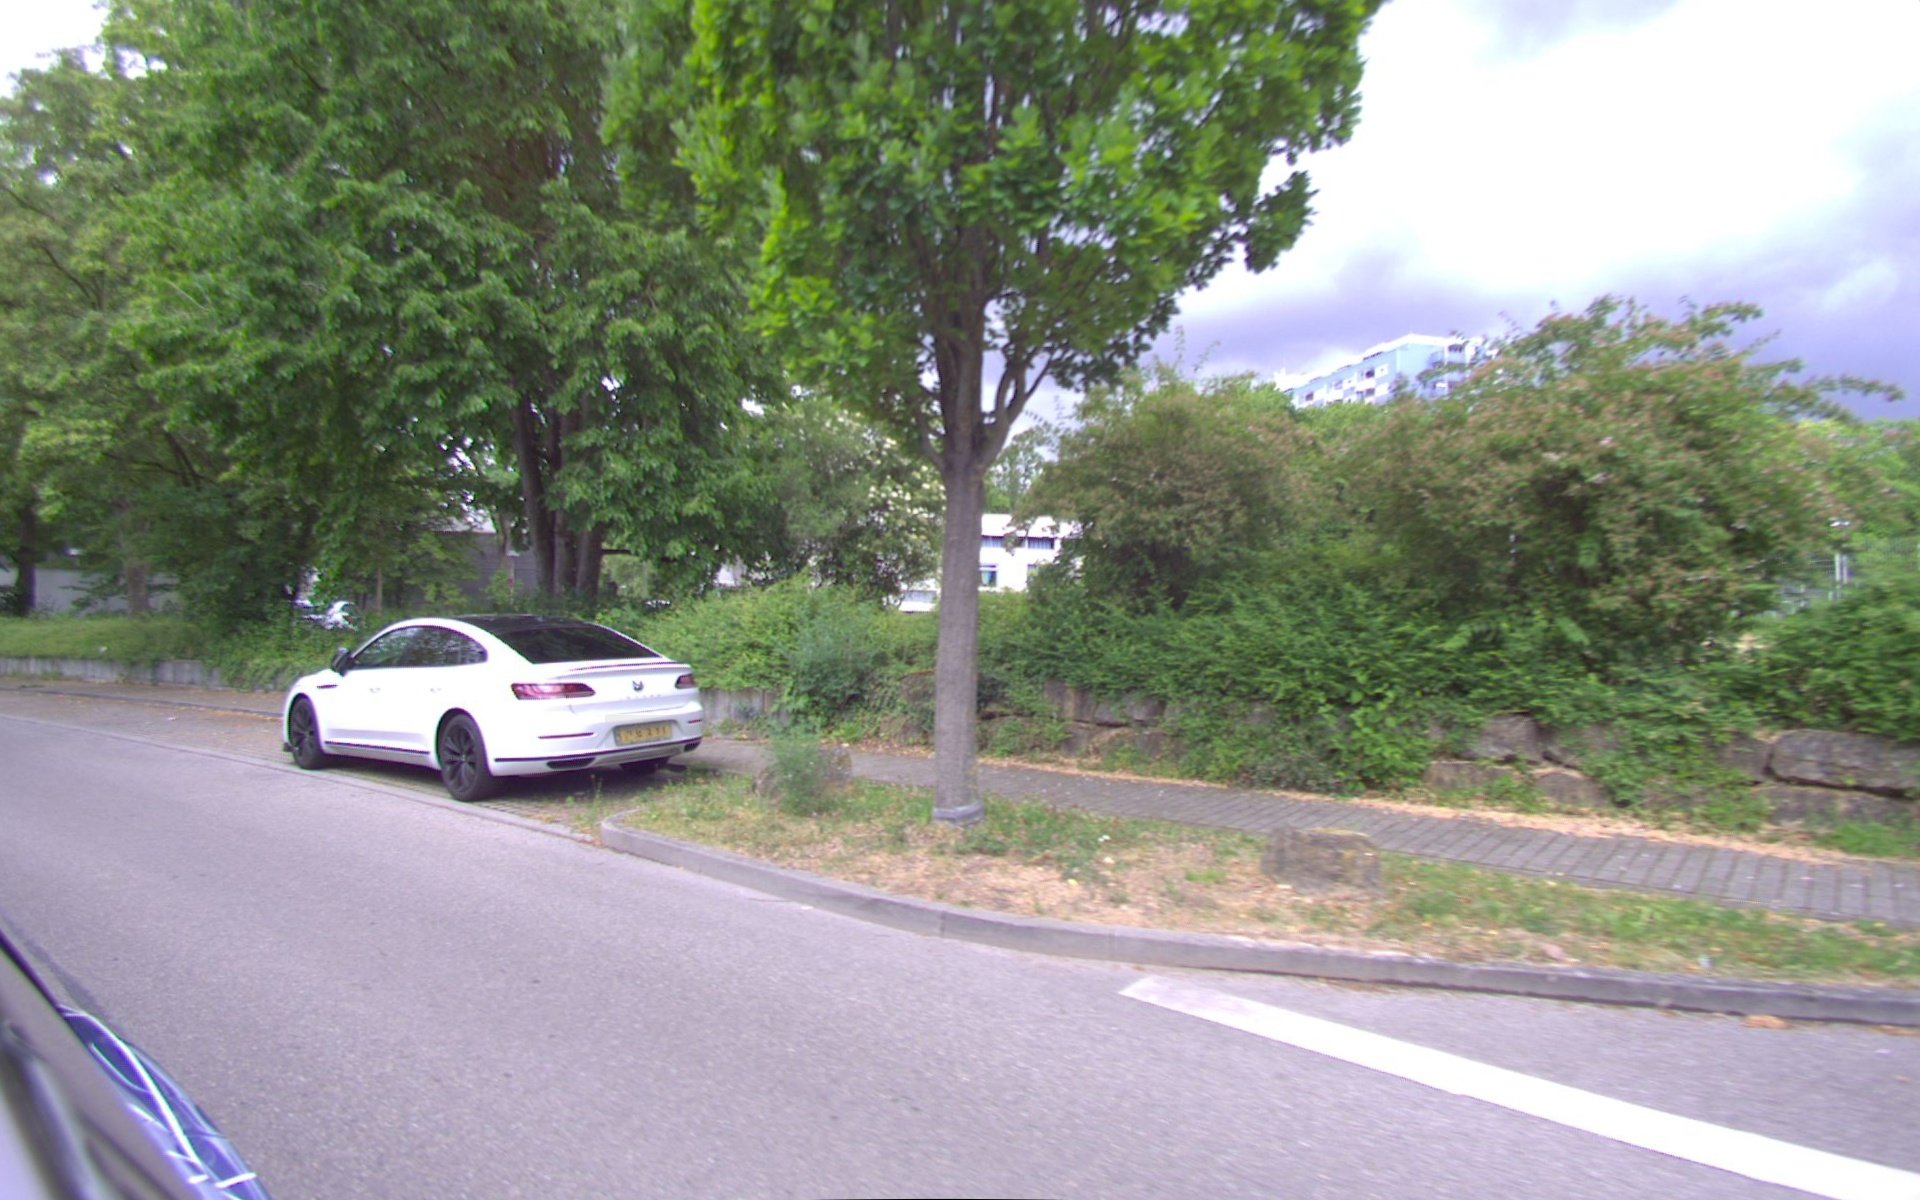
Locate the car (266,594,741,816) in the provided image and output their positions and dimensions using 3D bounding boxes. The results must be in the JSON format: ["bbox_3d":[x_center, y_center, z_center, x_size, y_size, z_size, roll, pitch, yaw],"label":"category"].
[{"bbox_3d":[-4.202,0.760,8.995,4.627,1.503,1.831,-1,-1,36],"label":"car"}]

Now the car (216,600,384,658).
[{"bbox_3d":[-19.816,0.832,30.552,3.750,1.650,2.004,0,0,-10],"label":"car"}]
